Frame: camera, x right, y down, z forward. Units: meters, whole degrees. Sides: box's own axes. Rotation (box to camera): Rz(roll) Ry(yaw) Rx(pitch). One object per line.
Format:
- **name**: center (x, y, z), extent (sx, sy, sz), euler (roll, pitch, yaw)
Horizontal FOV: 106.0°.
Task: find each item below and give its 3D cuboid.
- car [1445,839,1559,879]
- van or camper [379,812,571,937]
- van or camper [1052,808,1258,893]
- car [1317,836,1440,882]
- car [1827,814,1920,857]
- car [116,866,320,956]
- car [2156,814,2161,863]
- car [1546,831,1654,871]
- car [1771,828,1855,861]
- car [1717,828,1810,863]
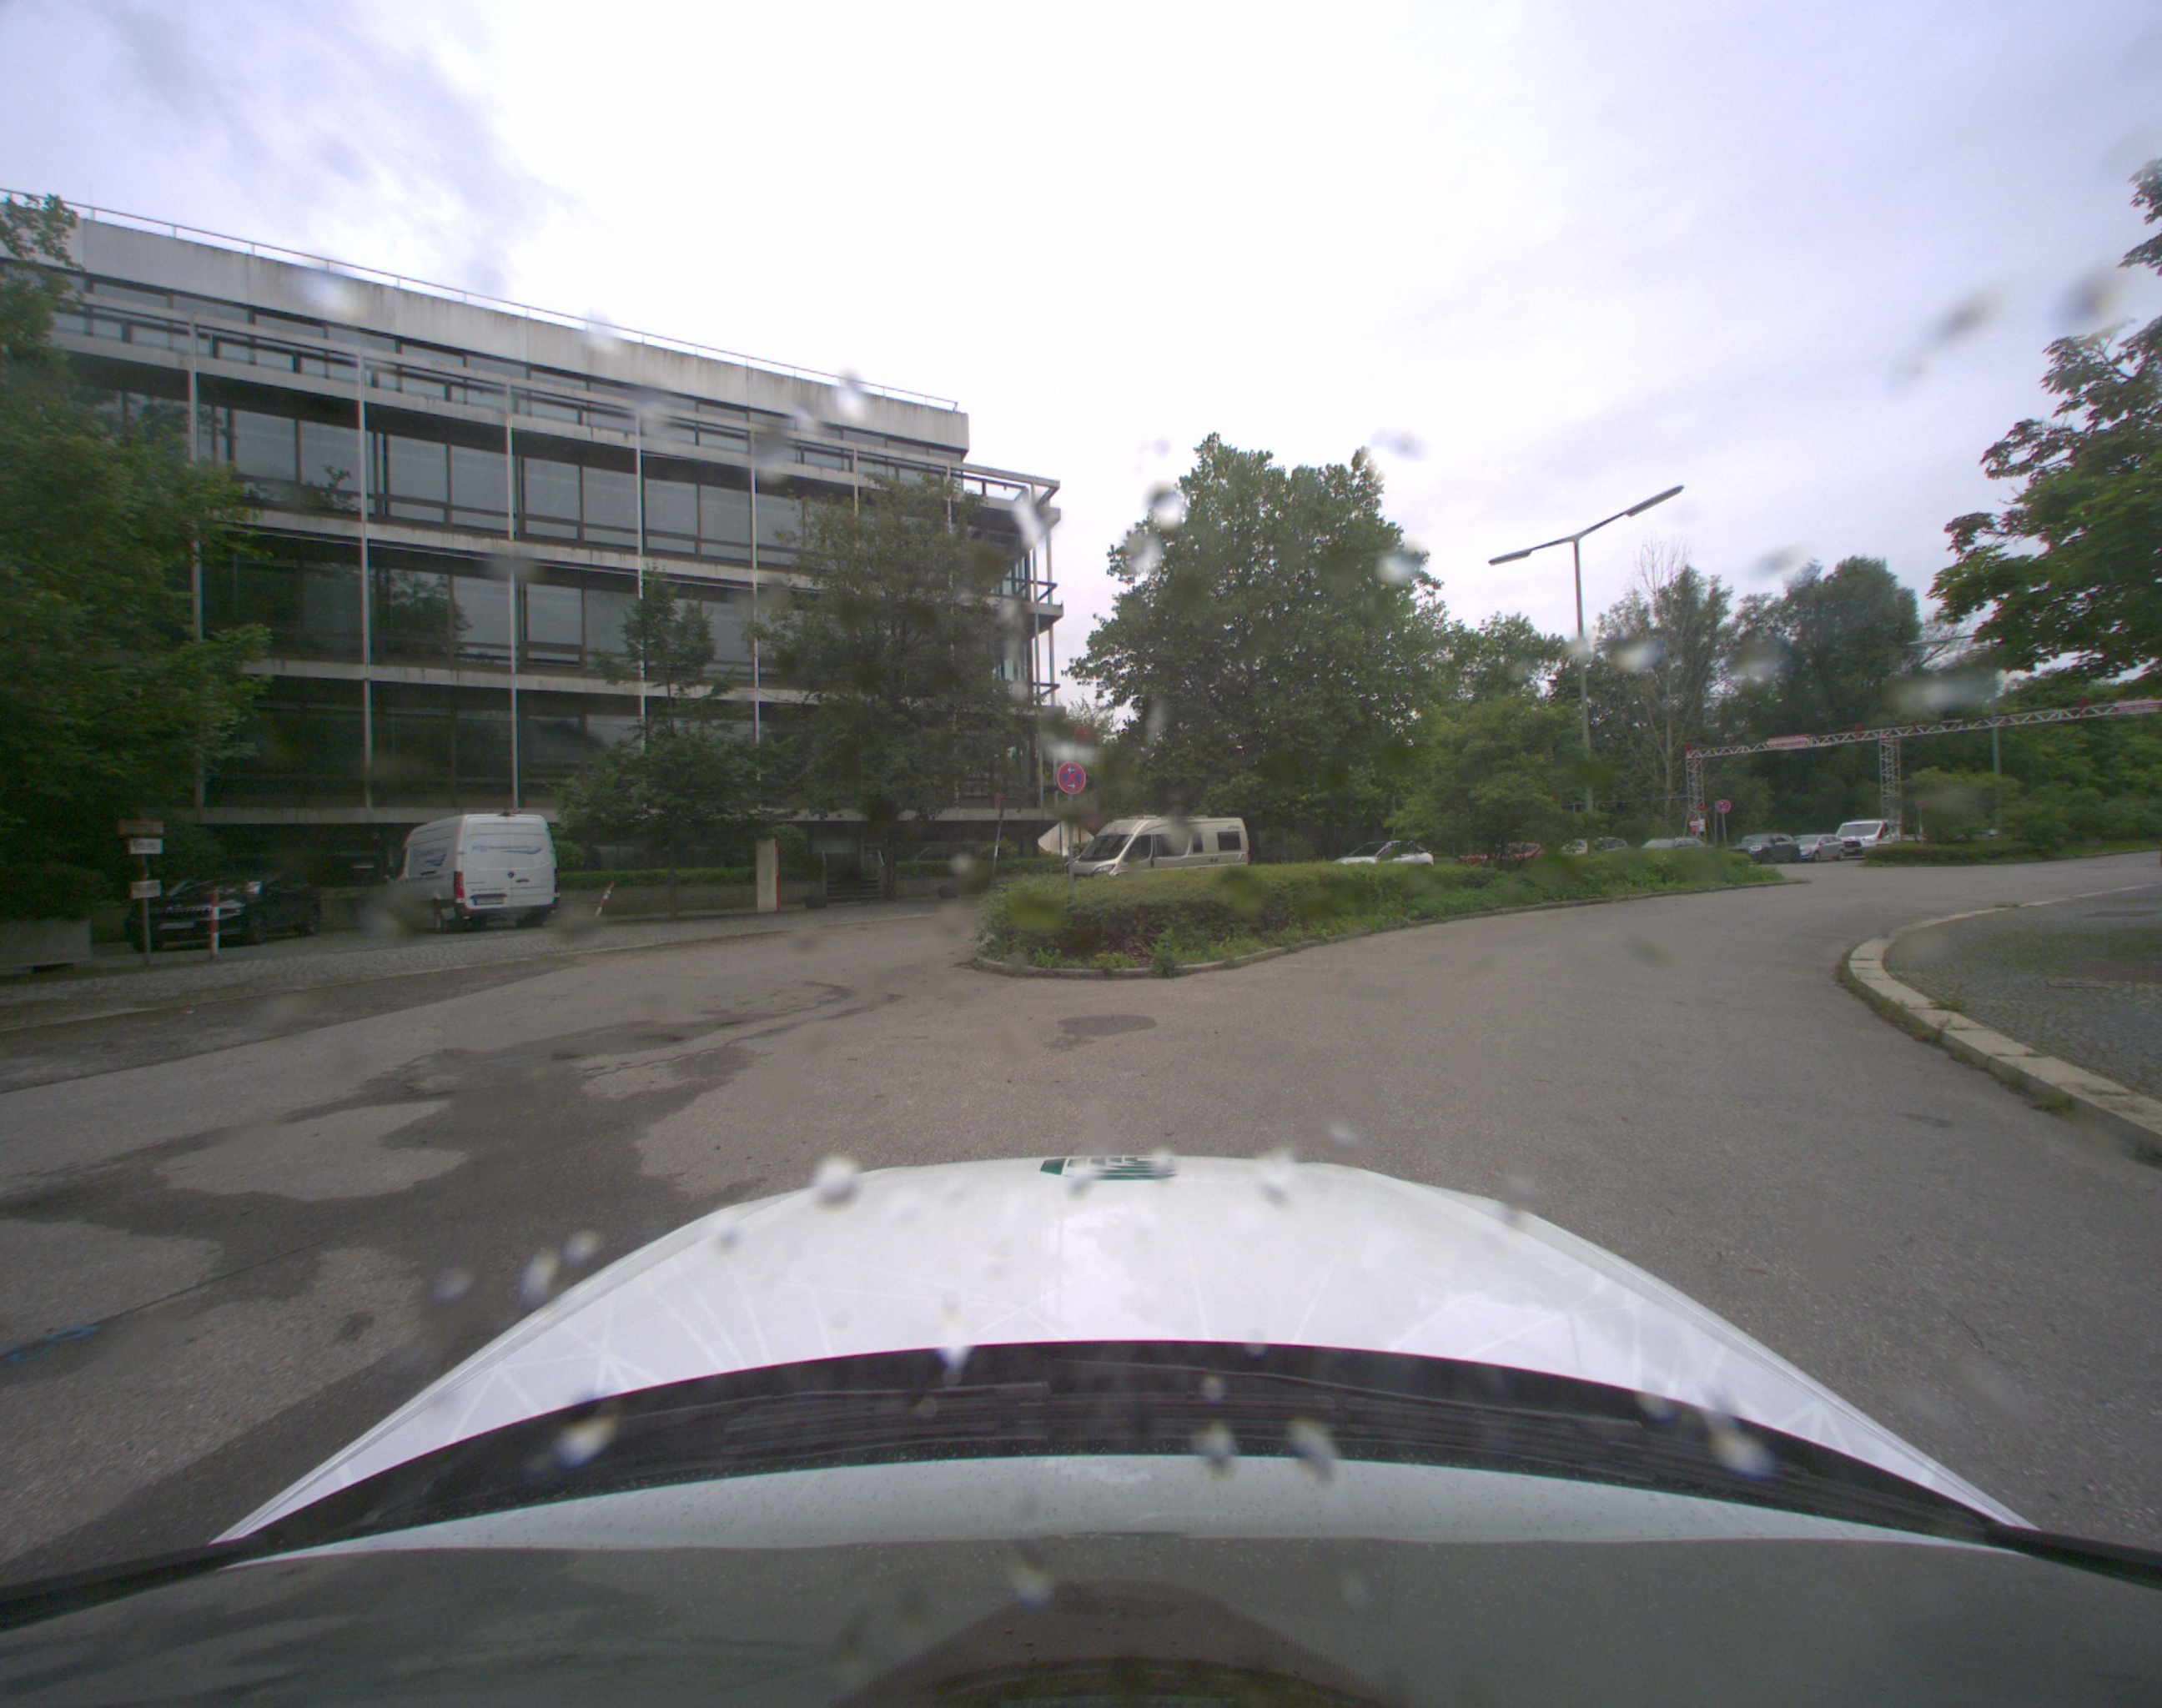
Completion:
- **car**: center (16.786, 0.198, 32.492), extent (4.005, 1.409, 1.984), euler (-2, 0, -24)
- **van or camper**: center (-14.823, 0.587, 19.733), extent (6.454, 2.581, 2.176), euler (-4, -2, 39)
- **van or camper**: center (2.396, -0.135, 24.743), extent (6.451, 2.281, 2.229), euler (-1, -1, -39)
- **car**: center (10.931, 0.171, 29.944), extent (4.005, 1.508, 1.984), euler (-2, 0, -24)
- **car**: center (44.042, -1.013, 45.264), extent (4.881, 2.227, 2.187), euler (-2, 0, -27)
- **car**: center (-19.279, 1.179, 18.470), extent (1.953, 1.721, 4.199), euler (-2, 0, -29)
- **car**: center (37.766, -0.593, 27.129), extent (4.010, 1.611, 1.718), euler (-2, 0, -28)
- **car**: center (22.276, -0.141, 34.955), extent (4.005, 1.574, 1.984), euler (-2, 0, -24)
- **car**: center (38.550, -0.488, 42.882), extent (4.009, 1.574, 1.982), euler (-2, 0, -27)
- **car**: center (34.039, -0.437, 40.605), extent (4.005, 1.574, 1.984), euler (-2, 0, -24)
